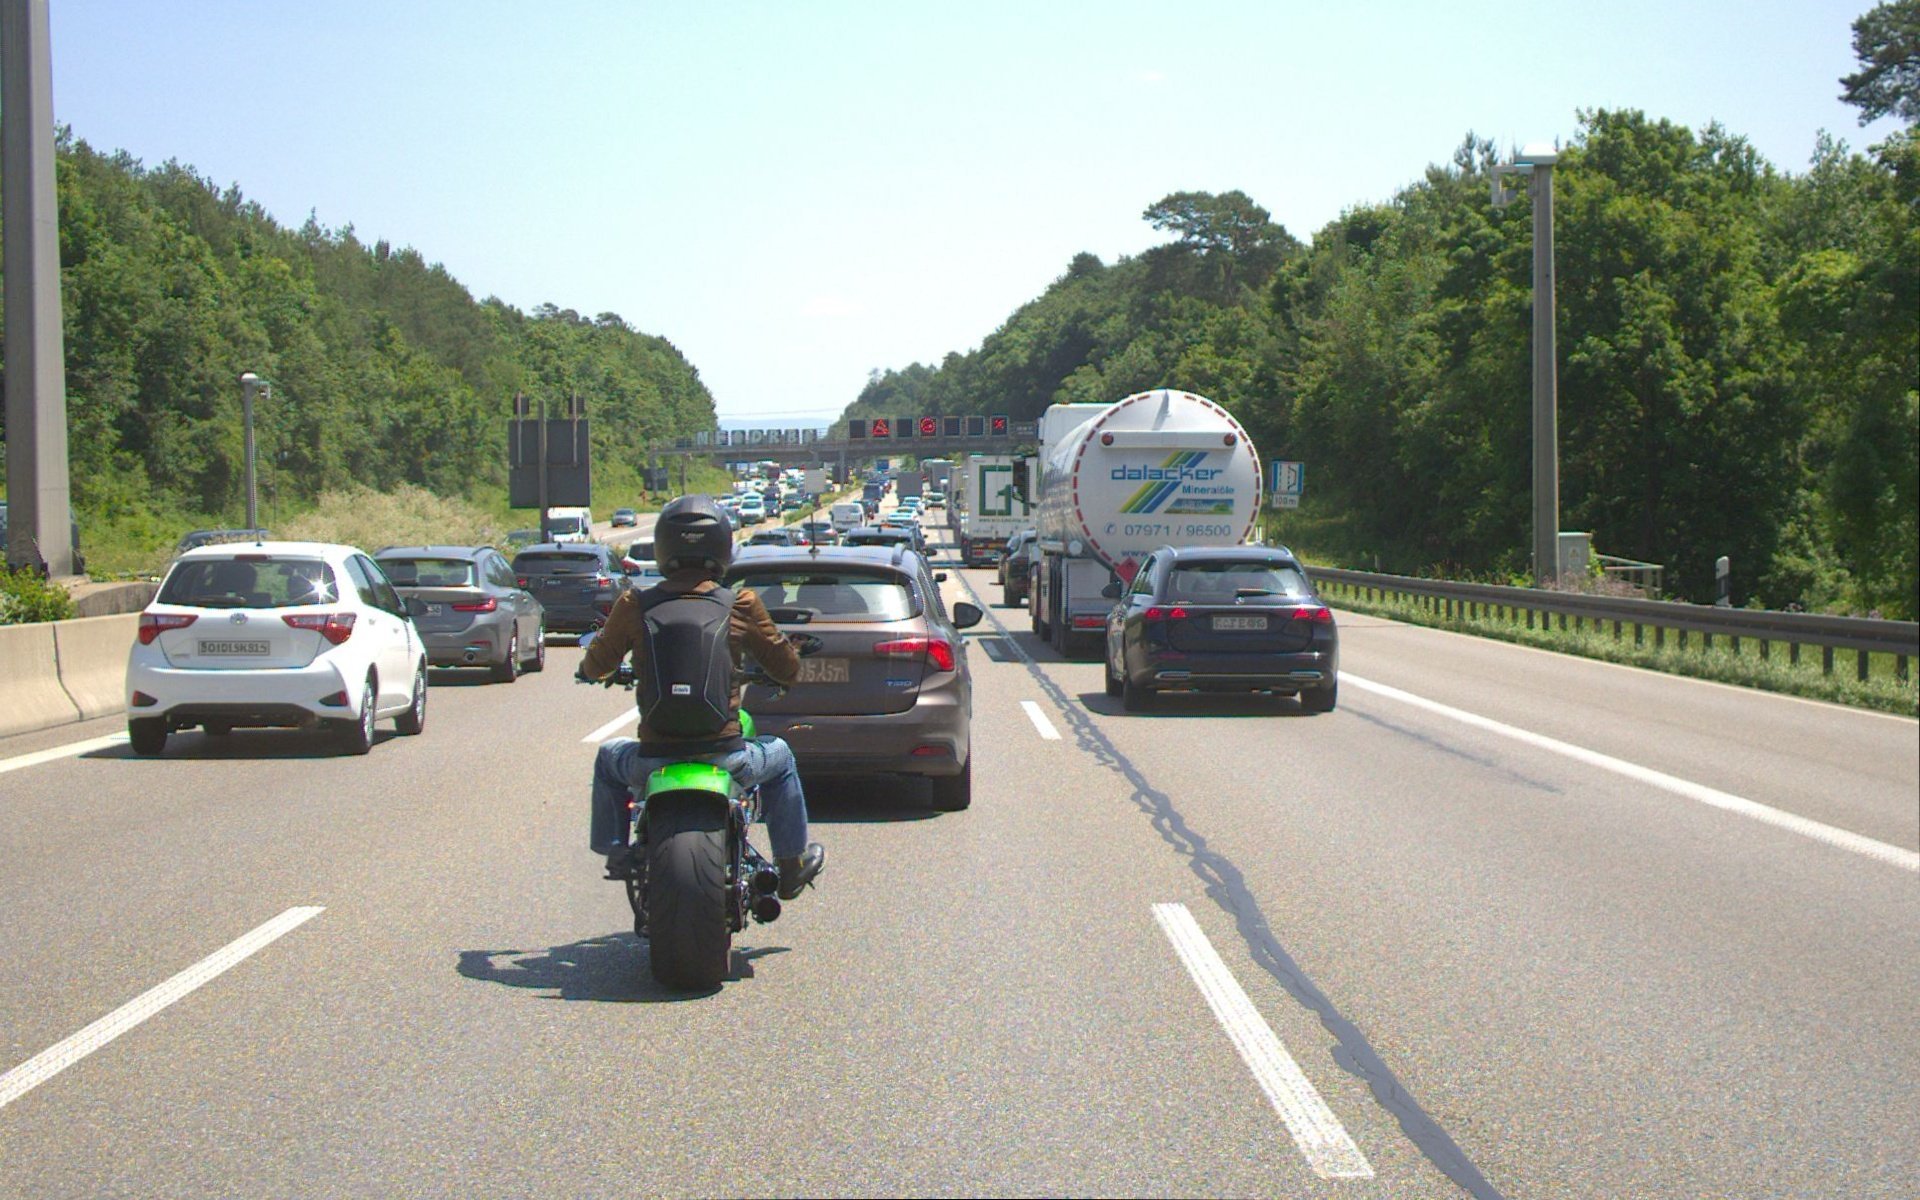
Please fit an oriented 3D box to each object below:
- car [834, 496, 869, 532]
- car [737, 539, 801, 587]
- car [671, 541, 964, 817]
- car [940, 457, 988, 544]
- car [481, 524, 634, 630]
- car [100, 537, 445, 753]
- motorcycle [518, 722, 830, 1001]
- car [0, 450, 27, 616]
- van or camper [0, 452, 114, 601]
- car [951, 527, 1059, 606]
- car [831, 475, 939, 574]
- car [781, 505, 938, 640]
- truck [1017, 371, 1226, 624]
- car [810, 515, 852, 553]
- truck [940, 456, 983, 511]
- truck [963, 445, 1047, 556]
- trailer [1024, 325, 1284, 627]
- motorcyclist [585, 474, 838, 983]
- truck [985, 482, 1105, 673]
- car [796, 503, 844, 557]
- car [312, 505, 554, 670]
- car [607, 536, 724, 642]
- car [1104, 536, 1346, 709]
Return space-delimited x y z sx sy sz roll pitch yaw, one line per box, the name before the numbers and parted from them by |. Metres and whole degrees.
car | -6.358 -5.052 202.040 1.993 2.007 4.000 -1 0 -1
car | -5.936 -1.171 107.079 1.764 1.437 4.000 0 1 0
car | -0.777 0.396 20.209 1.541 1.445 4.000 1 1 -1
car | 0.151 -4.697 164.464 2.167 3.879 9.330 1 0 -1
car | -5.764 -0.313 49.633 1.993 1.459 4.000 1 0 -4
car | -4.960 0.267 25.298 1.776 1.406 4.000 1 2 -1
motorcycle | -0.967 0.886 12.247 0.936 0.790 2.299 1 0 -1
car | -12.548 -0.822 40.280 1.993 2.007 5.155 1 0 -2
van or camper | -18.997 -1.432 69.802 2.154 2.849 6.653 1 0 -1
car | 0.880 -0.648 69.295 1.775 1.522 4.001 1 0 -5
car | -1.445 -1.411 65.720 1.993 1.769 4.000 1 0 -1
car | -1.334 -0.343 45.922 1.993 1.705 4.000 1 0 -1
truck | 2.402 -1.483 53.210 2.828 3.658 6.429 1 0 -1
car | -5.558 -2.844 148.696 1.660 1.594 4.000 0 0 0
truck | 0.085 -7.770 230.793 2.696 3.394 10.478 -1 1 -1
truck | 1.683 -3.601 125.939 2.854 3.808 7.187 1 0 2
trailer | 2.471 -1.497 47.341 2.828 3.658 10.732 1 0 -1
motorcyclist | -0.843 0.429 11.917 0.799 1.682 1.016 1 0 -1
truck | 2.021 -0.651 85.690 2.388 4.448 10.870 0 1 -2
car | -5.275 -2.628 129.633 1.660 1.971 4.000 0 0 0
car | -5.658 -0.122 37.413 1.993 1.678 4.330 1 0 -1
car | -5.716 -0.203 67.171 1.993 2.007 4.000 1 0 -1
car | 2.350 0.202 31.531 1.792 1.453 4.624 1 0 -1
